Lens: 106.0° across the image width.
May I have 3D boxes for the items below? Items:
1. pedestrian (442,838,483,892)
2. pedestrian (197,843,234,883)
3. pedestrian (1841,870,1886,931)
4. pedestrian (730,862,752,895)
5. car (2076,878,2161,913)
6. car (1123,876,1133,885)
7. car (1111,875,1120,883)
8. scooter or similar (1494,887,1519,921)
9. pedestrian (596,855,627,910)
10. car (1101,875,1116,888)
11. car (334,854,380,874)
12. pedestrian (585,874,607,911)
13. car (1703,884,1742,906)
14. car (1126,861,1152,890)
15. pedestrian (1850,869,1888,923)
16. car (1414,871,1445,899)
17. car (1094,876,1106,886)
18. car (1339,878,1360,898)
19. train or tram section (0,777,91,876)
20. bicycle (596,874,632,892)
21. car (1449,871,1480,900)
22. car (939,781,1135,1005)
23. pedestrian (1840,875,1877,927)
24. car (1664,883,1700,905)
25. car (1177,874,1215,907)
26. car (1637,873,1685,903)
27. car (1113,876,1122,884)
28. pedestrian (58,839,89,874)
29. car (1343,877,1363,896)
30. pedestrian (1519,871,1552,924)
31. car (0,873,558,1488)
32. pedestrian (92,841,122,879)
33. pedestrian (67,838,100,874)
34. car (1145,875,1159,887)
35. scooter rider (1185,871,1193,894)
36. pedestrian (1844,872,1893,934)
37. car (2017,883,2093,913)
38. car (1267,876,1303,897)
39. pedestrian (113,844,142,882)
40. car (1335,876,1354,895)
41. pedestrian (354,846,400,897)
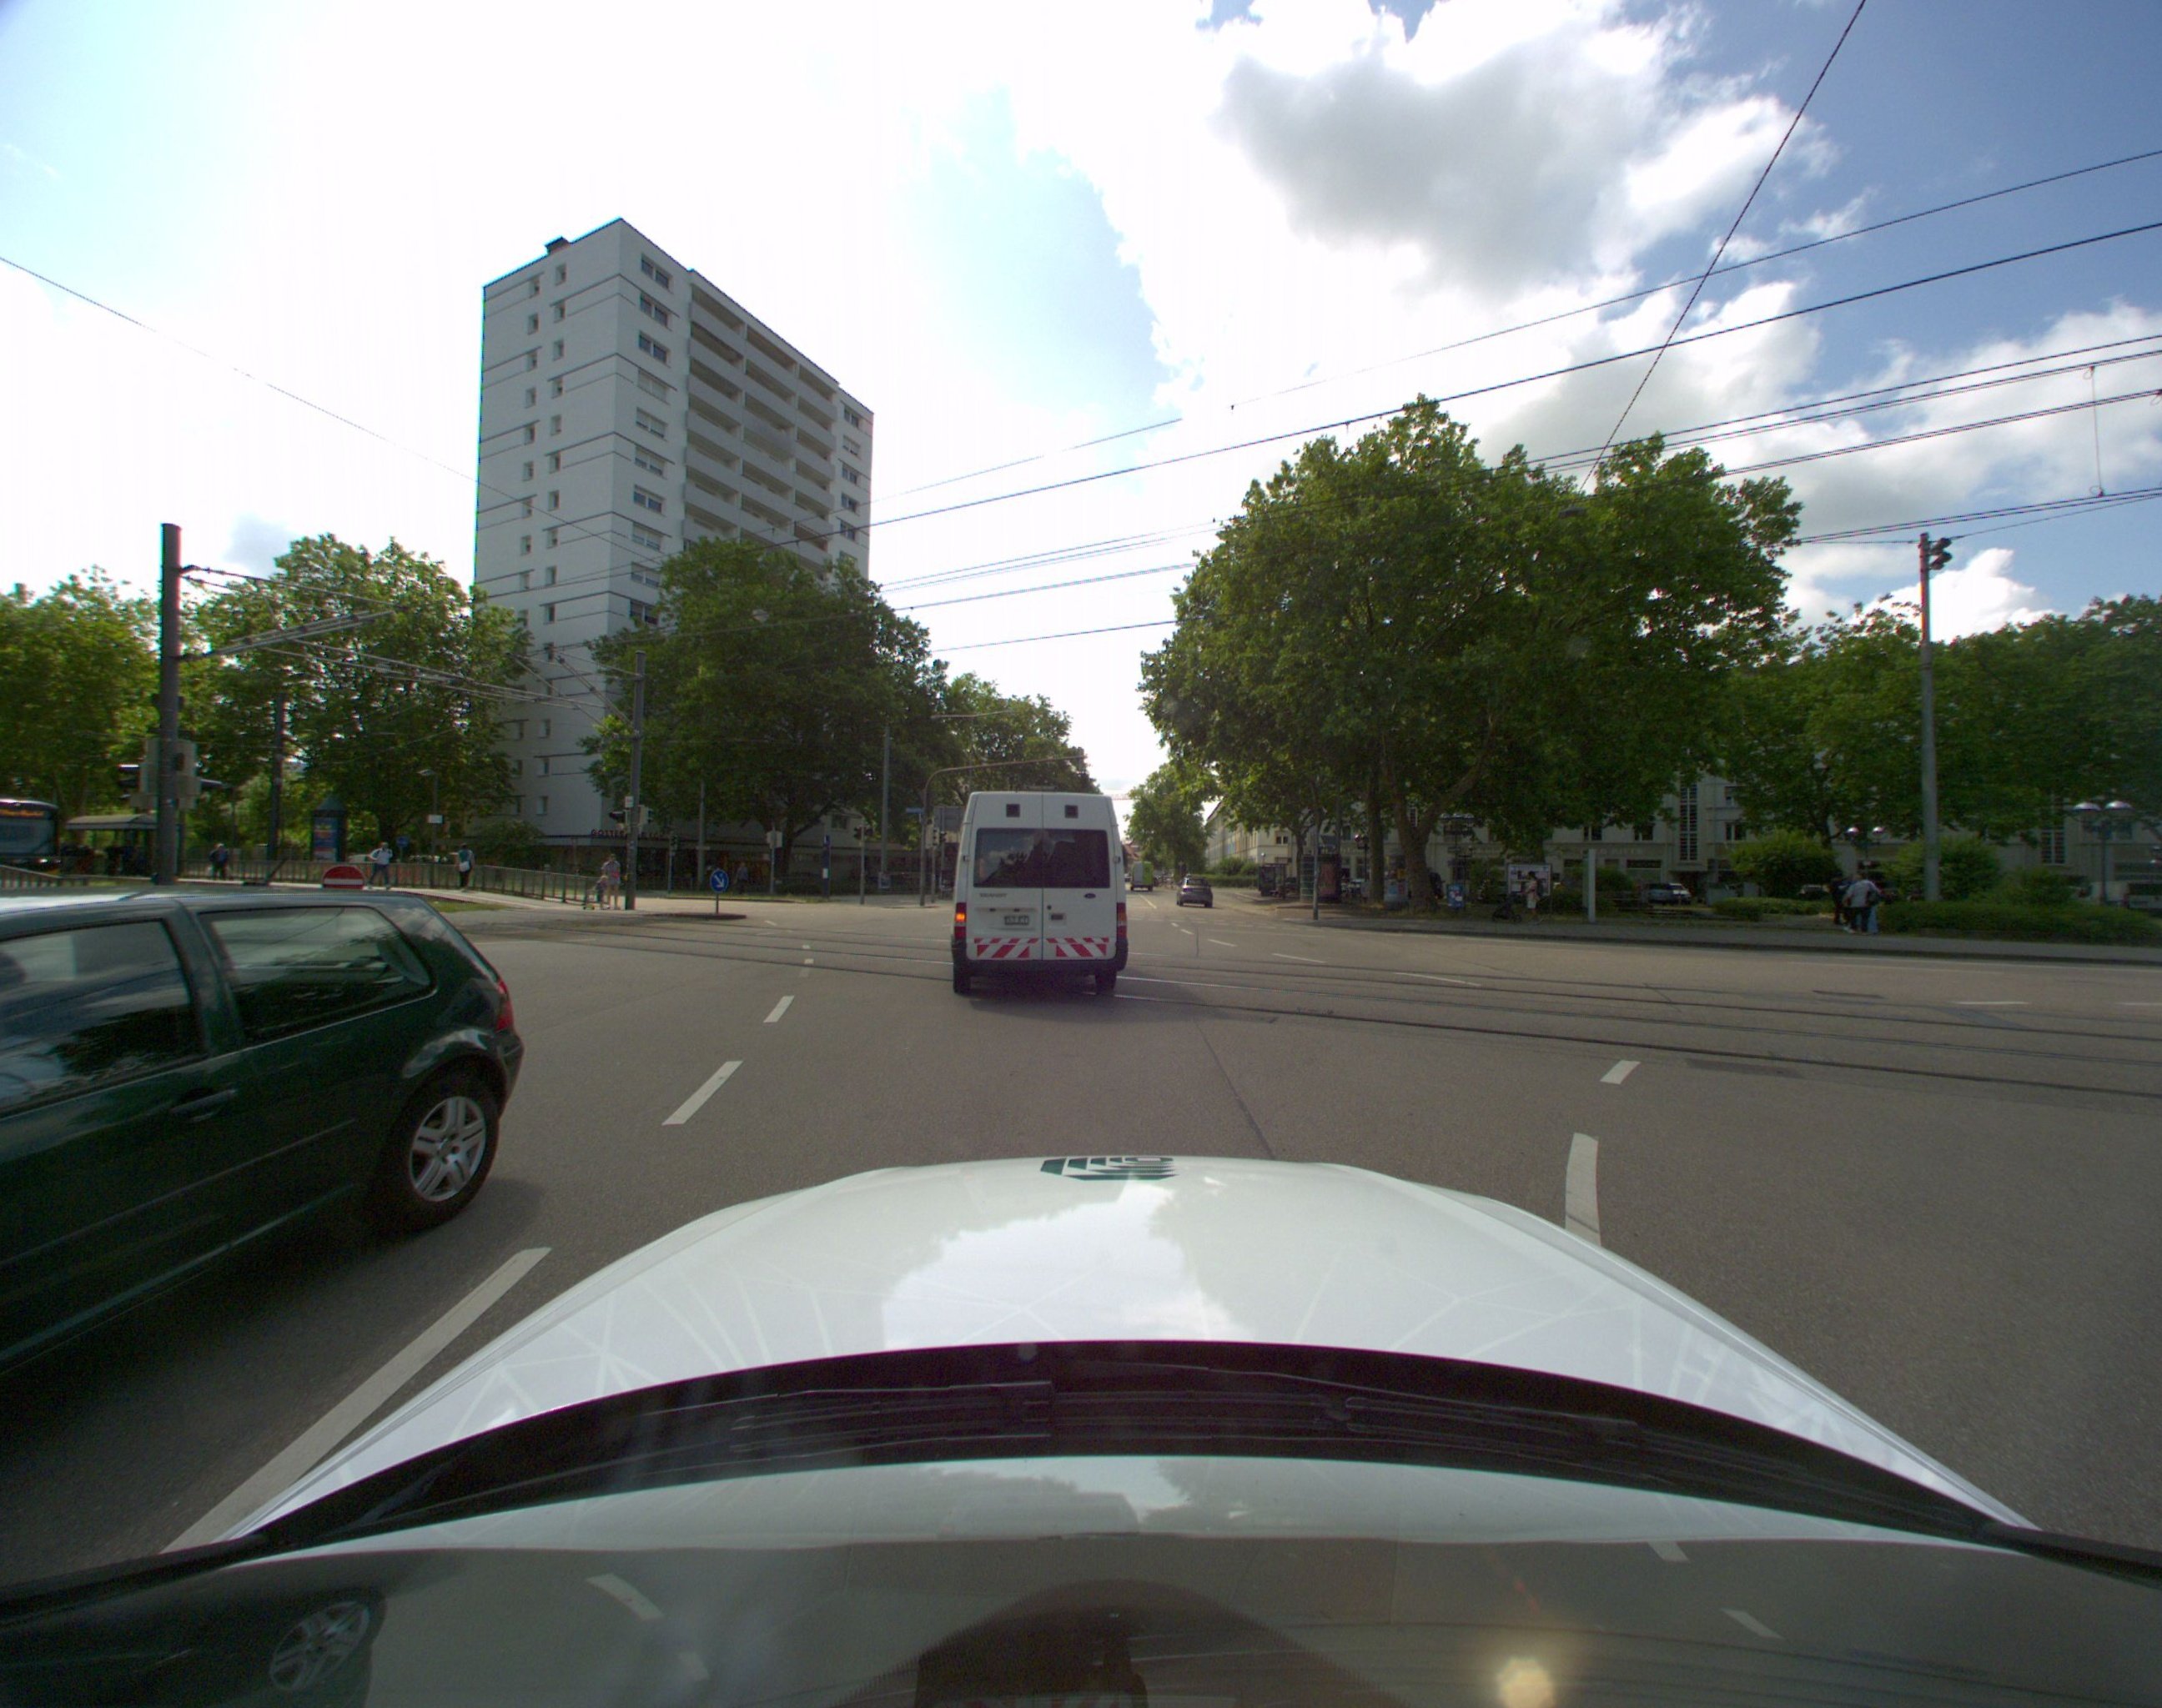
[{"bbox_3d":[-22.207,0.404,29.252,0.836,1.899,0.834,0,-2,26],"label":"pedestrian"},{"bbox_3d":[-39.553,0.414,37.225,0.865,1.775,0.865,0,-2,26],"label":"pedestrian"},{"bbox_3d":[23.164,1.374,24.115,0.665,1.764,0.693,1,-1,3],"label":"pedestrian"},{"bbox_3d":[-16.699,1.185,39.978,0.775,1.599,0.538,0,-2,23],"label":"pedestrian"},{"bbox_3d":[60.250,2.367,46.931,2.077,1.906,4.517,0,-2,28],"label":"car"},{"bbox_3d":[9.650,5.483,168.139,1.852,1.661,3.755,1,-1,6],"label":"car"},{"bbox_3d":[7.058,5.204,167.886,1.651,1.661,3.755,1,-1,6],"label":"car"},{"bbox_3d":[13.659,1.600,26.123,0.699,1.056,0.494,0,-2,28],"label":"scooter or similar"},{"bbox_3d":[-14.424,0.866,25.037,0.629,1.666,0.668,2,-2,-45],"label":"pedestrian"},{"bbox_3d":[3.853,3.842,113.473,1.778,1.661,4.320,1,-1,4],"label":"car"},{"bbox_3d":[-69.127,0.993,77.744,4.284,1.815,1.823,0,-2,28],"label":"car"},{"bbox_3d":[-14.543,1.150,24.421,0.431,1.063,0.423,-1,-2,44],"label":"pedestrian"},{"bbox_3d":[50.105,3.145,63.694,1.722,1.637,4.024,0,-2,28],"label":"car"},{"bbox_3d":[5.396,1.998,76.450,2.112,2.641,6.328,1,-1,1],"label":"car"},{"bbox_3d":[26.036,1.392,26.916,0.694,1.751,0.606,1,-1,2],"label":"pedestrian"},{"bbox_3d":[27.009,2.391,63.018,1.975,2.076,4.023,0,-2,27],"label":"car"},{"bbox_3d":[3.120,4.404,133.939,1.720,1.661,3.755,1,-1,6],"label":"car"},{"bbox_3d":[20.271,2.549,61.490,1.454,1.389,3.080,1,-2,18],"label":"car"},{"bbox_3d":[-44.913,-1.009,33.076,12.854,3.585,2.832,0,-2,26],"label":"train or tram section"},{"bbox_3d":[-27.218,1.699,47.441,1.736,1.009,0.528,2,-2,-37],"label":"bicycle"},{"bbox_3d":[29.047,2.382,61.615,1.975,2.076,4.023,0,-2,27],"label":"car"},{"bbox_3d":[-0.737,0.463,10.982,2.045,2.333,4.702,1,-1,-7],"label":"car"},{"bbox_3d":[26.893,1.609,28.167,0.694,1.751,0.606,1,-1,3],"label":"pedestrian"},{"bbox_3d":[47.850,3.144,64.875,1.722,1.637,4.024,0,-2,28],"label":"car"},{"bbox_3d":[5.897,1.843,42.024,1.684,1.538,3.472,1,-1,5],"label":"car"},{"bbox_3d":[40.475,2.377,56.919,1.975,2.014,4.022,0,-2,25],"label":"car"},{"bbox_3d":[7.877,5.648,174.546,1.692,1.661,3.755,1,-1,6],"label":"car"},{"bbox_3d":[-52.518,0.136,42.455,1.118,1.801,0.718,0,-2,25],"label":"pedestrian"},{"bbox_3d":[21.762,2.592,65.022,1.453,1.389,3.251,1,-2,19],"label":"car"},{"bbox_3d":[14.348,1.357,25.736,0.911,1.646,0.573,0,-2,28],"label":"pedestrian"},{"bbox_3d":[-3.429,0.798,2.117,1.708,1.433,3.816,-1,-1,-1],"label":"car"},{"bbox_3d":[-48.255,0.303,40.346,0.897,1.849,0.707,0,-2,25],"label":"pedestrian"},{"bbox_3d":[-53.348,0.100,43.560,1.018,1.873,0.817,0,-2,25],"label":"pedestrian"},{"bbox_3d":[9.460,3.634,108.413,1.717,1.555,3.636,1,-2,3],"label":"car"},{"bbox_3d":[8.611,2.284,64.901,0.524,1.812,0.649,1,-1,2],"label":"scooter rider"},{"bbox_3d":[22.495,1.393,23.269,0.714,1.723,0.693,1,-1,2],"label":"pedestrian"},{"bbox_3d":[66.668,2.987,55.831,1.975,1.964,4.024,0,-2,28],"label":"car"},{"bbox_3d":[16.986,2.697,67.663,2.009,1.601,4.564,0,-2,25],"label":"car"},{"bbox_3d":[-48.044,0.457,41.051,0.779,1.849,0.707,0,-2,25],"label":"pedestrian"},{"bbox_3d":[24.729,2.951,76.448,1.452,1.666,3.083,0,-2,22],"label":"car"},{"bbox_3d":[-25.134,0.617,29.077,1.032,1.780,0.856,0,-2,26],"label":"pedestrian"}]
